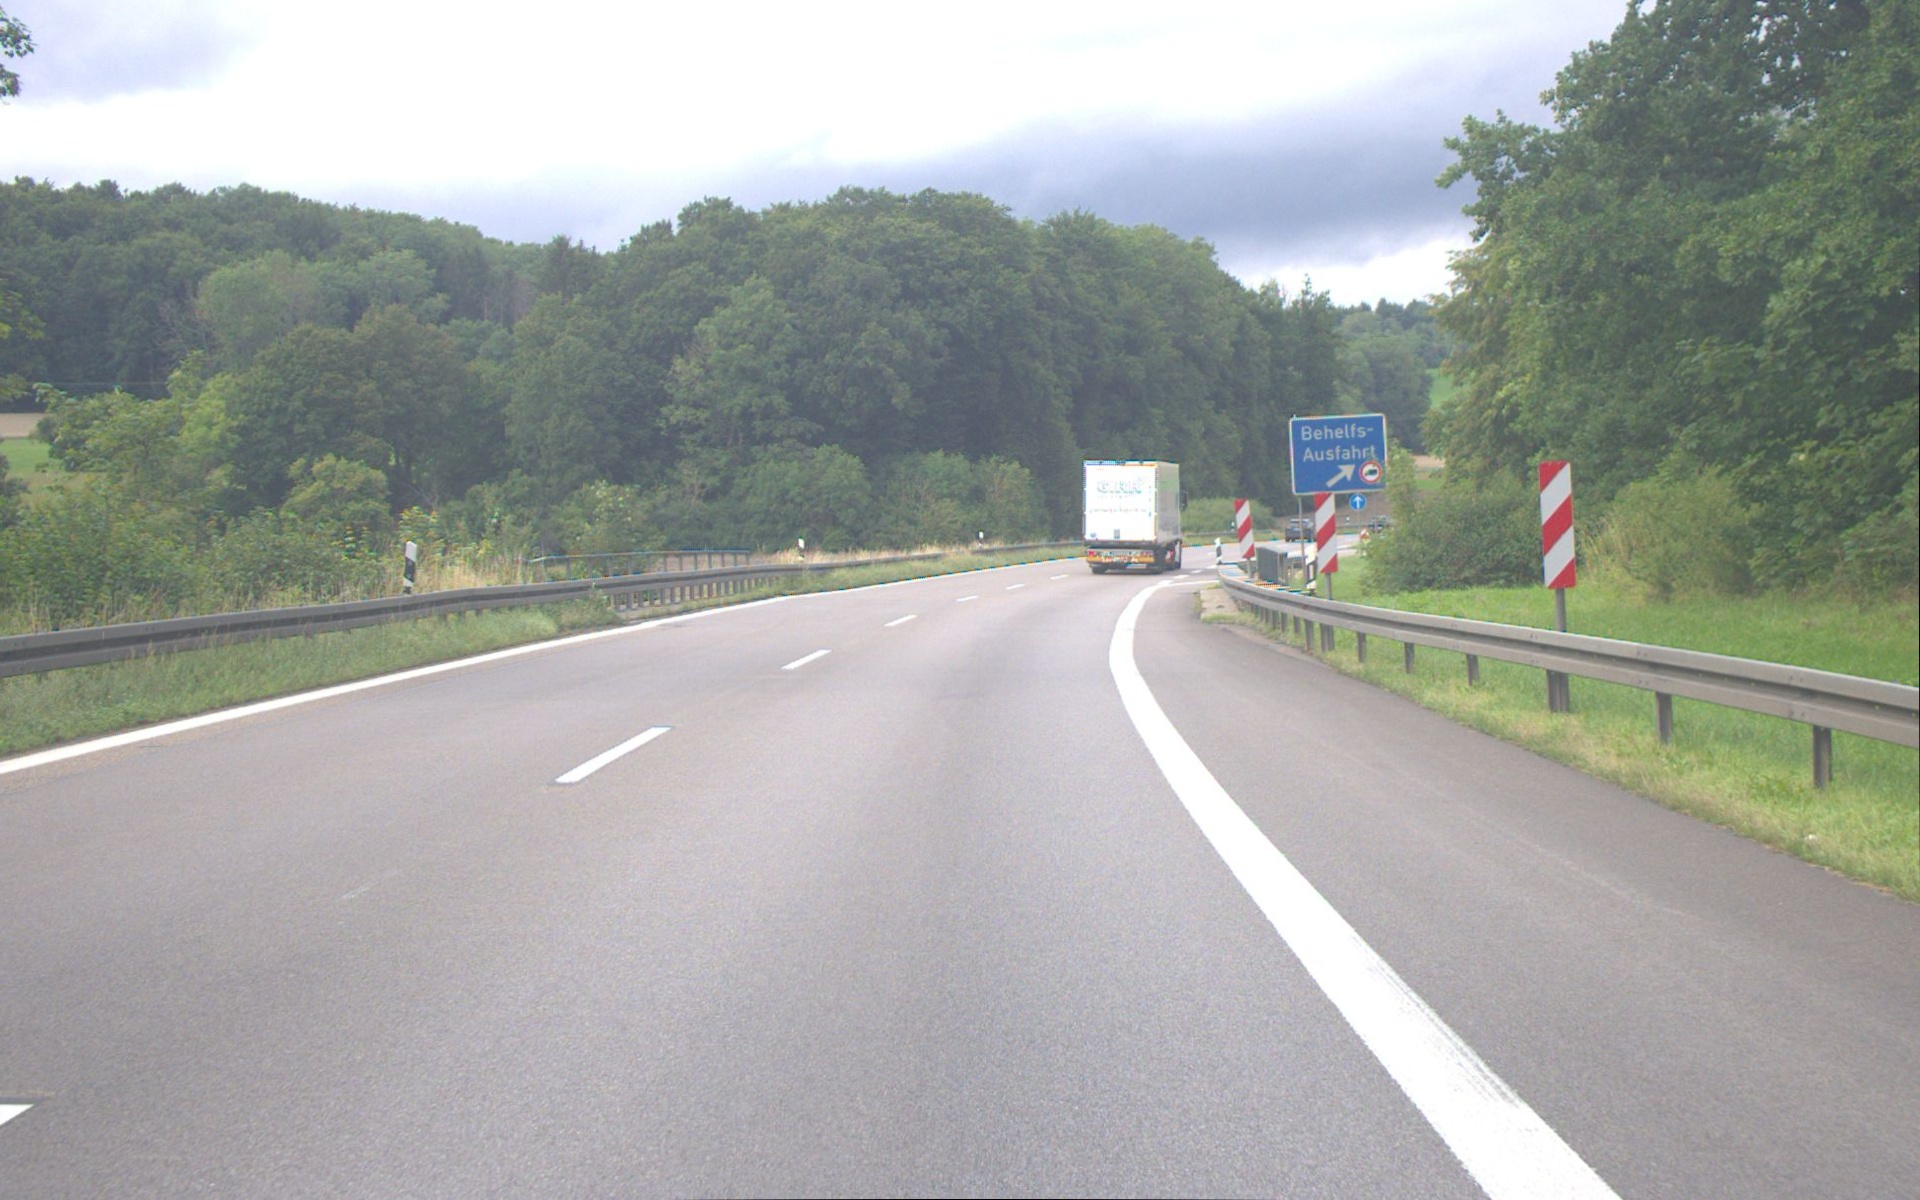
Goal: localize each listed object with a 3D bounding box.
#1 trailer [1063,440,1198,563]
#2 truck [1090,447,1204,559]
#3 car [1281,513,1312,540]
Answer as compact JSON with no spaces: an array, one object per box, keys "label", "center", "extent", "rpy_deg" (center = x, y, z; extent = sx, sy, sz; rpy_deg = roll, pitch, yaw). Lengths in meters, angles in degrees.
[{"label":"trailer","center":[6.347,-3.539,124.868],"extent":[3.806,4.160,14.805],"rpy_deg":[-1,1,7]},{"label":"truck","center":[7.260,-3.733,132.223],"extent":[3.788,4.117,8.263],"rpy_deg":[-1,1,7]},{"label":"car","center":[23.361,-5.109,238.674],"extent":[1.903,1.789,3.998],"rpy_deg":[0,0,9]}]
